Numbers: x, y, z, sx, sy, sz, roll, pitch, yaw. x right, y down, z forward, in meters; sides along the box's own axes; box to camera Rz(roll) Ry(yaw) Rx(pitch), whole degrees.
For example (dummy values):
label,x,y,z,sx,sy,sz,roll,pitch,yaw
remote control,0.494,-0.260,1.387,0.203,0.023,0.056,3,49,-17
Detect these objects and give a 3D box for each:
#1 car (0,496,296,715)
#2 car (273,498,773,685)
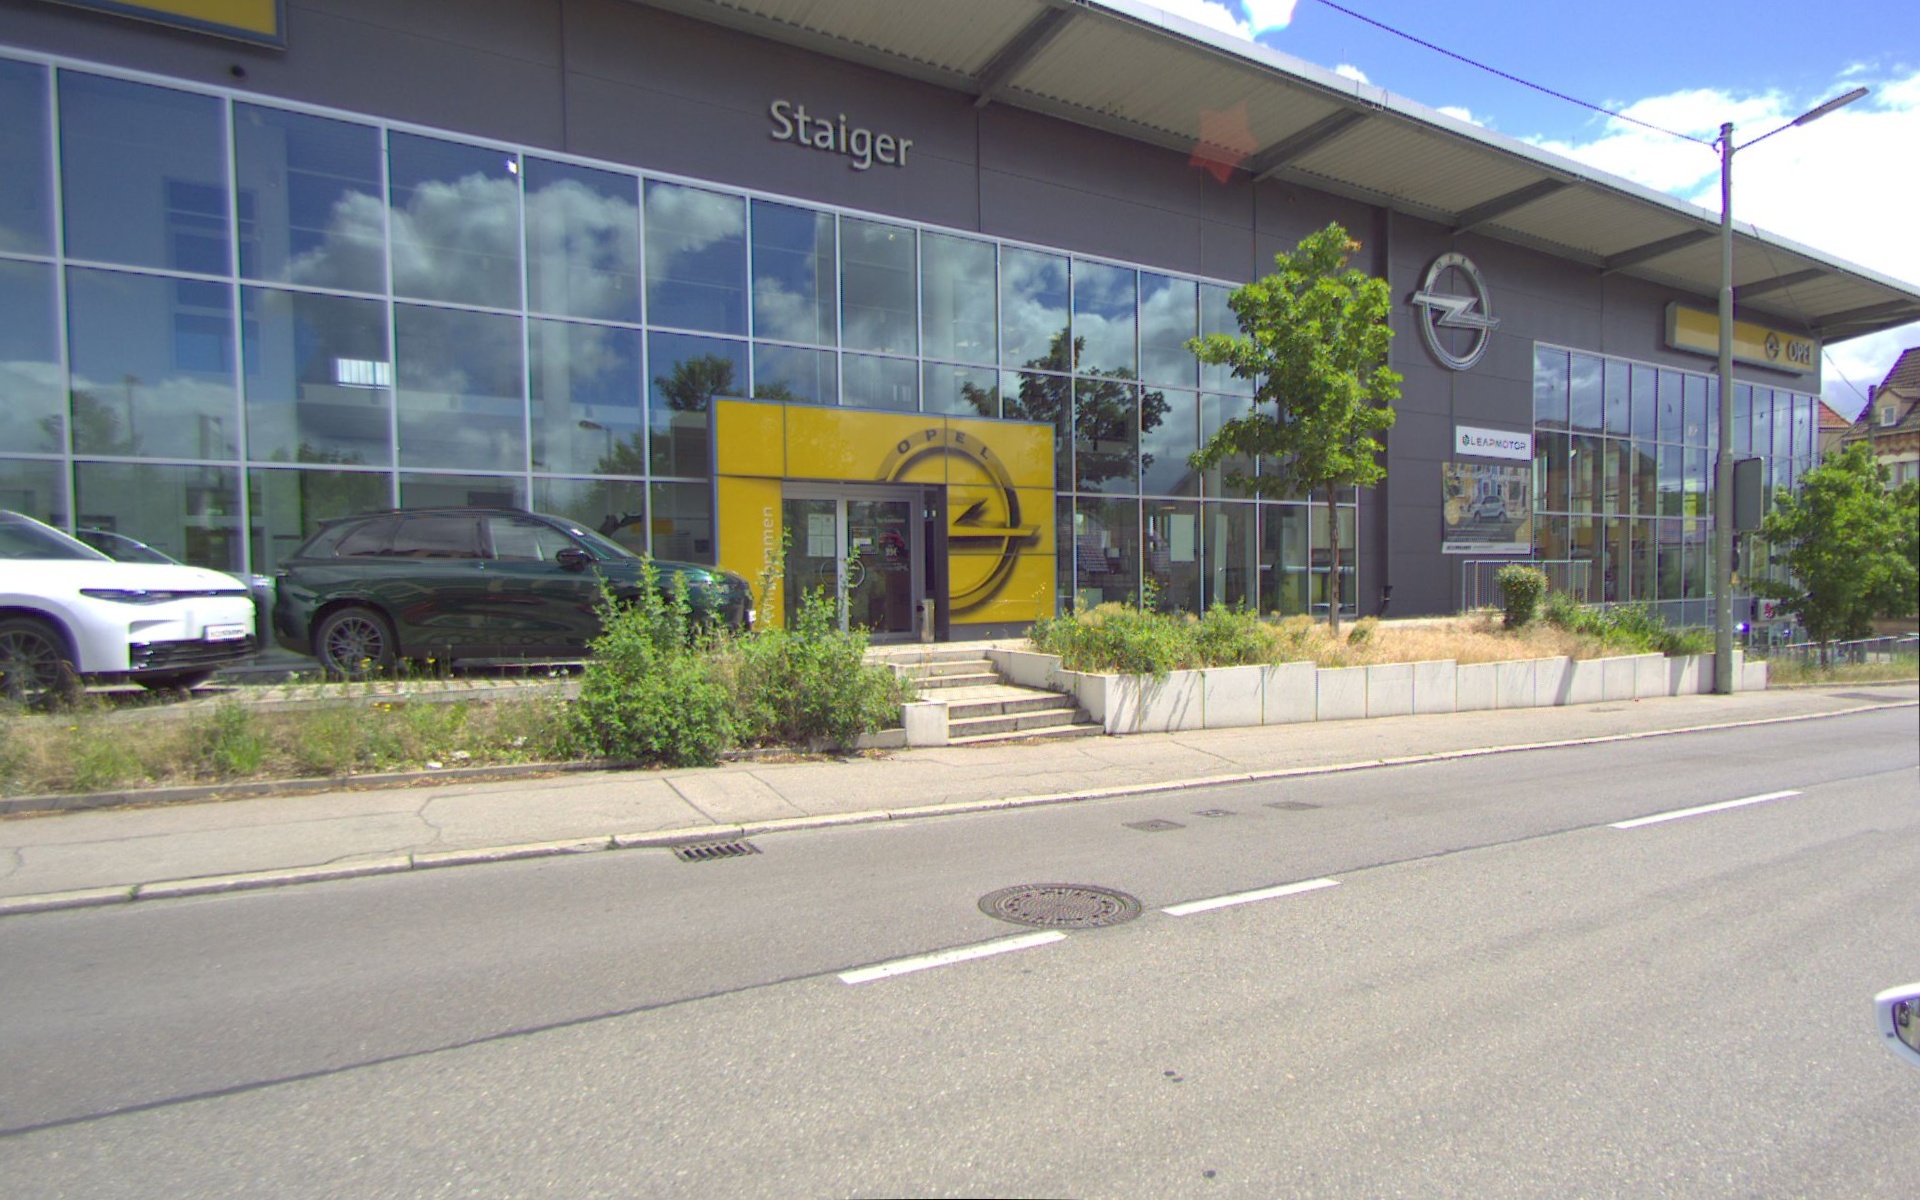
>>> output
label,x,y,z,sx,sy,sz,roll,pitch,yaw
car,-8.324,0.021,8.149,4.468,1.594,1.935,1,0,-7
car,-4.351,-0.114,10.684,4.399,1.721,1.998,-1,1,-4
